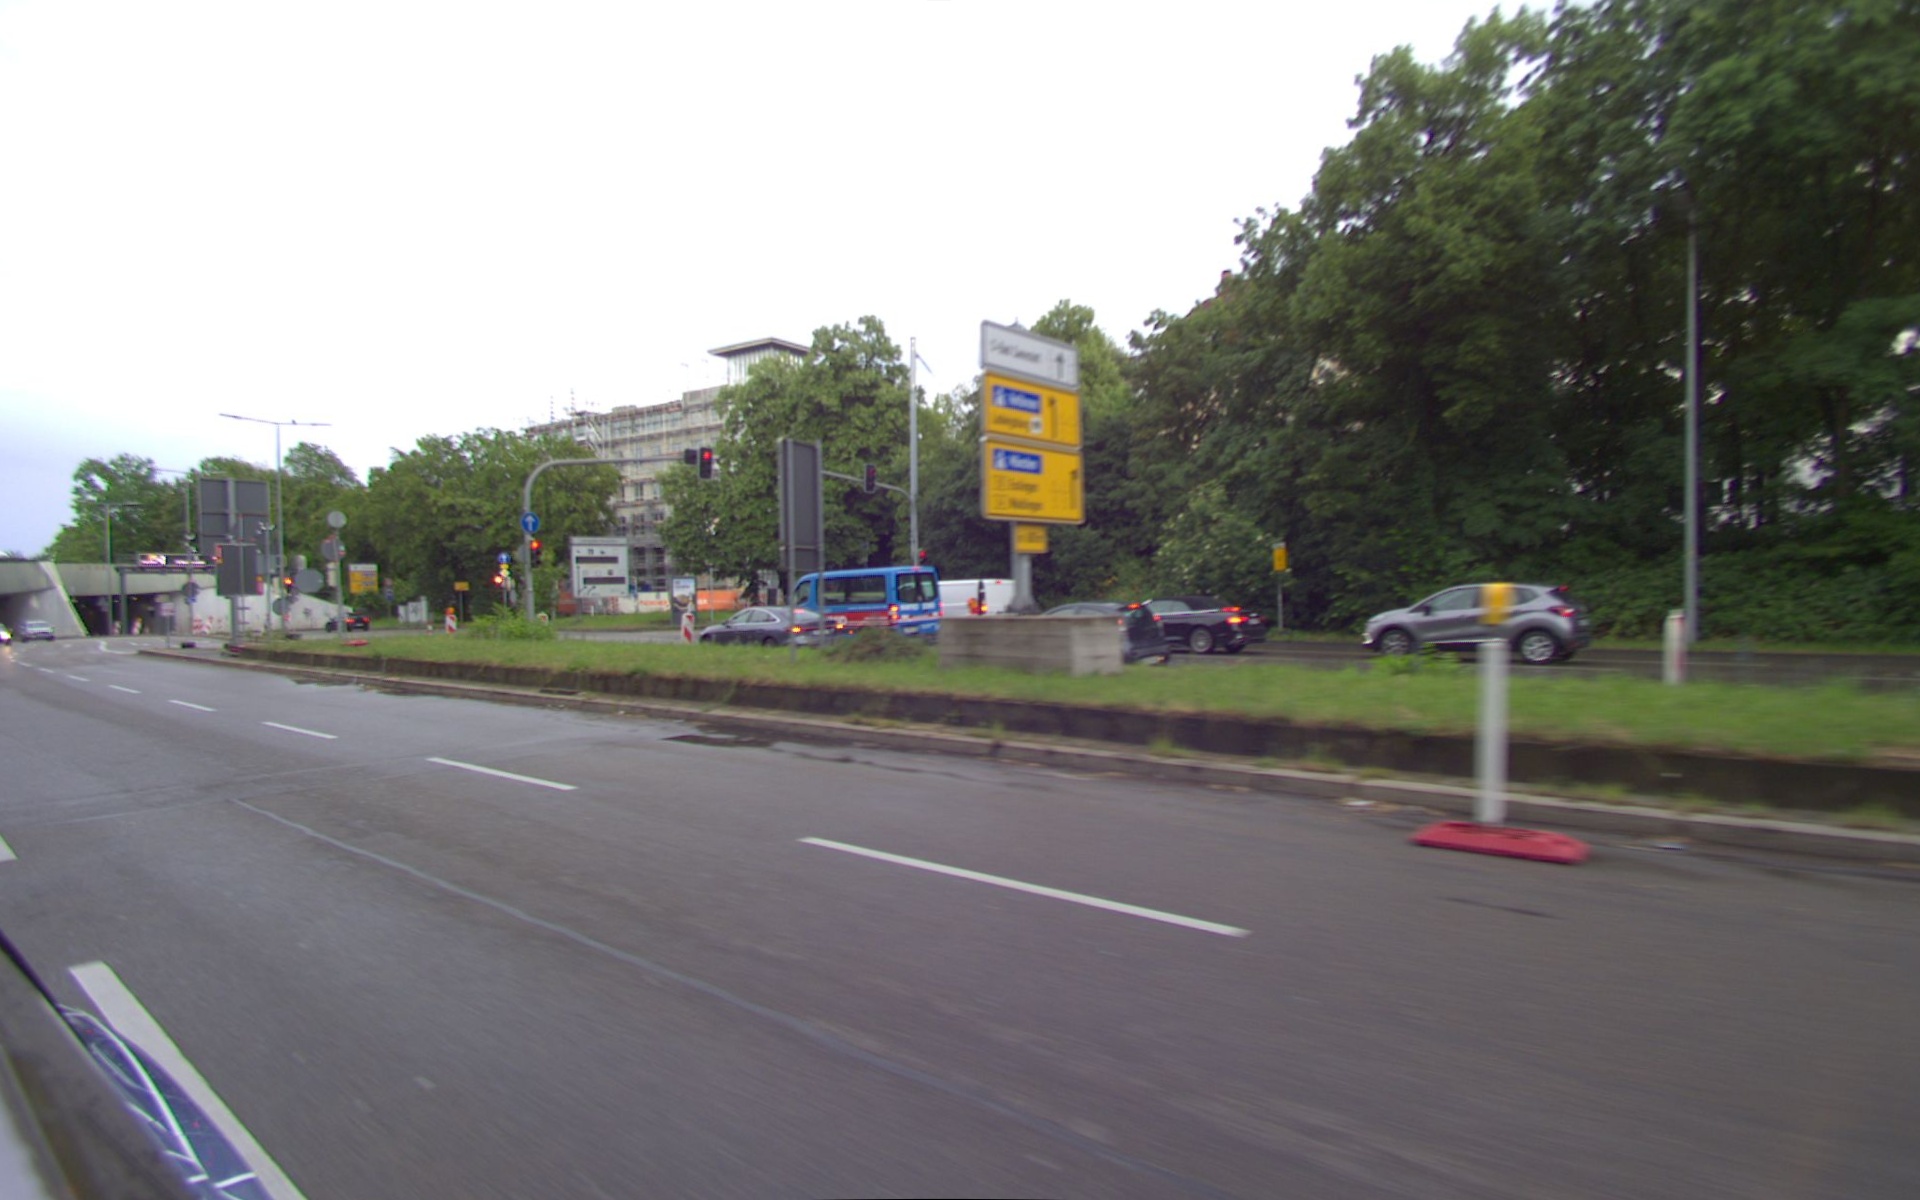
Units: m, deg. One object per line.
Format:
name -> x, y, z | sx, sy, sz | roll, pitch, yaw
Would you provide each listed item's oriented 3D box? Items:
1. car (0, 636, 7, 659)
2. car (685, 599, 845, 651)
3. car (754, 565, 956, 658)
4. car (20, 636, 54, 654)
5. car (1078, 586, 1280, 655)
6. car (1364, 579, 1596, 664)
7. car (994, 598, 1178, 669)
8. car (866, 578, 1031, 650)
car -> -62.266, 3.055, 64.496 | 3.820, 1.411, 1.677 | -2, -1, 39
car -> -5.129, 0.639, 26.198 | 4.644, 1.209, 1.533 | -2, 0, 42
car -> -3.171, 0.386, 29.134 | 6.244, 2.408, 2.171 | -3, -1, 43
car -> -70.365, 3.395, 77.117 | 3.826, 1.317, 1.675 | -2, -1, 44
car -> 5.331, 0.513, 25.063 | 4.635, 1.535, 1.773 | -2, 0, 44
car -> 10.304, 0.415, 20.216 | 3.790, 1.535, 1.653 | -2, 0, 44
car -> 2.372, 0.623, 19.501 | 3.301, 1.209, 1.414 | -2, 0, 44
car -> -0.433, 0.469, 31.036 | 4.990, 1.989, 2.012 | -3, -1, 43
